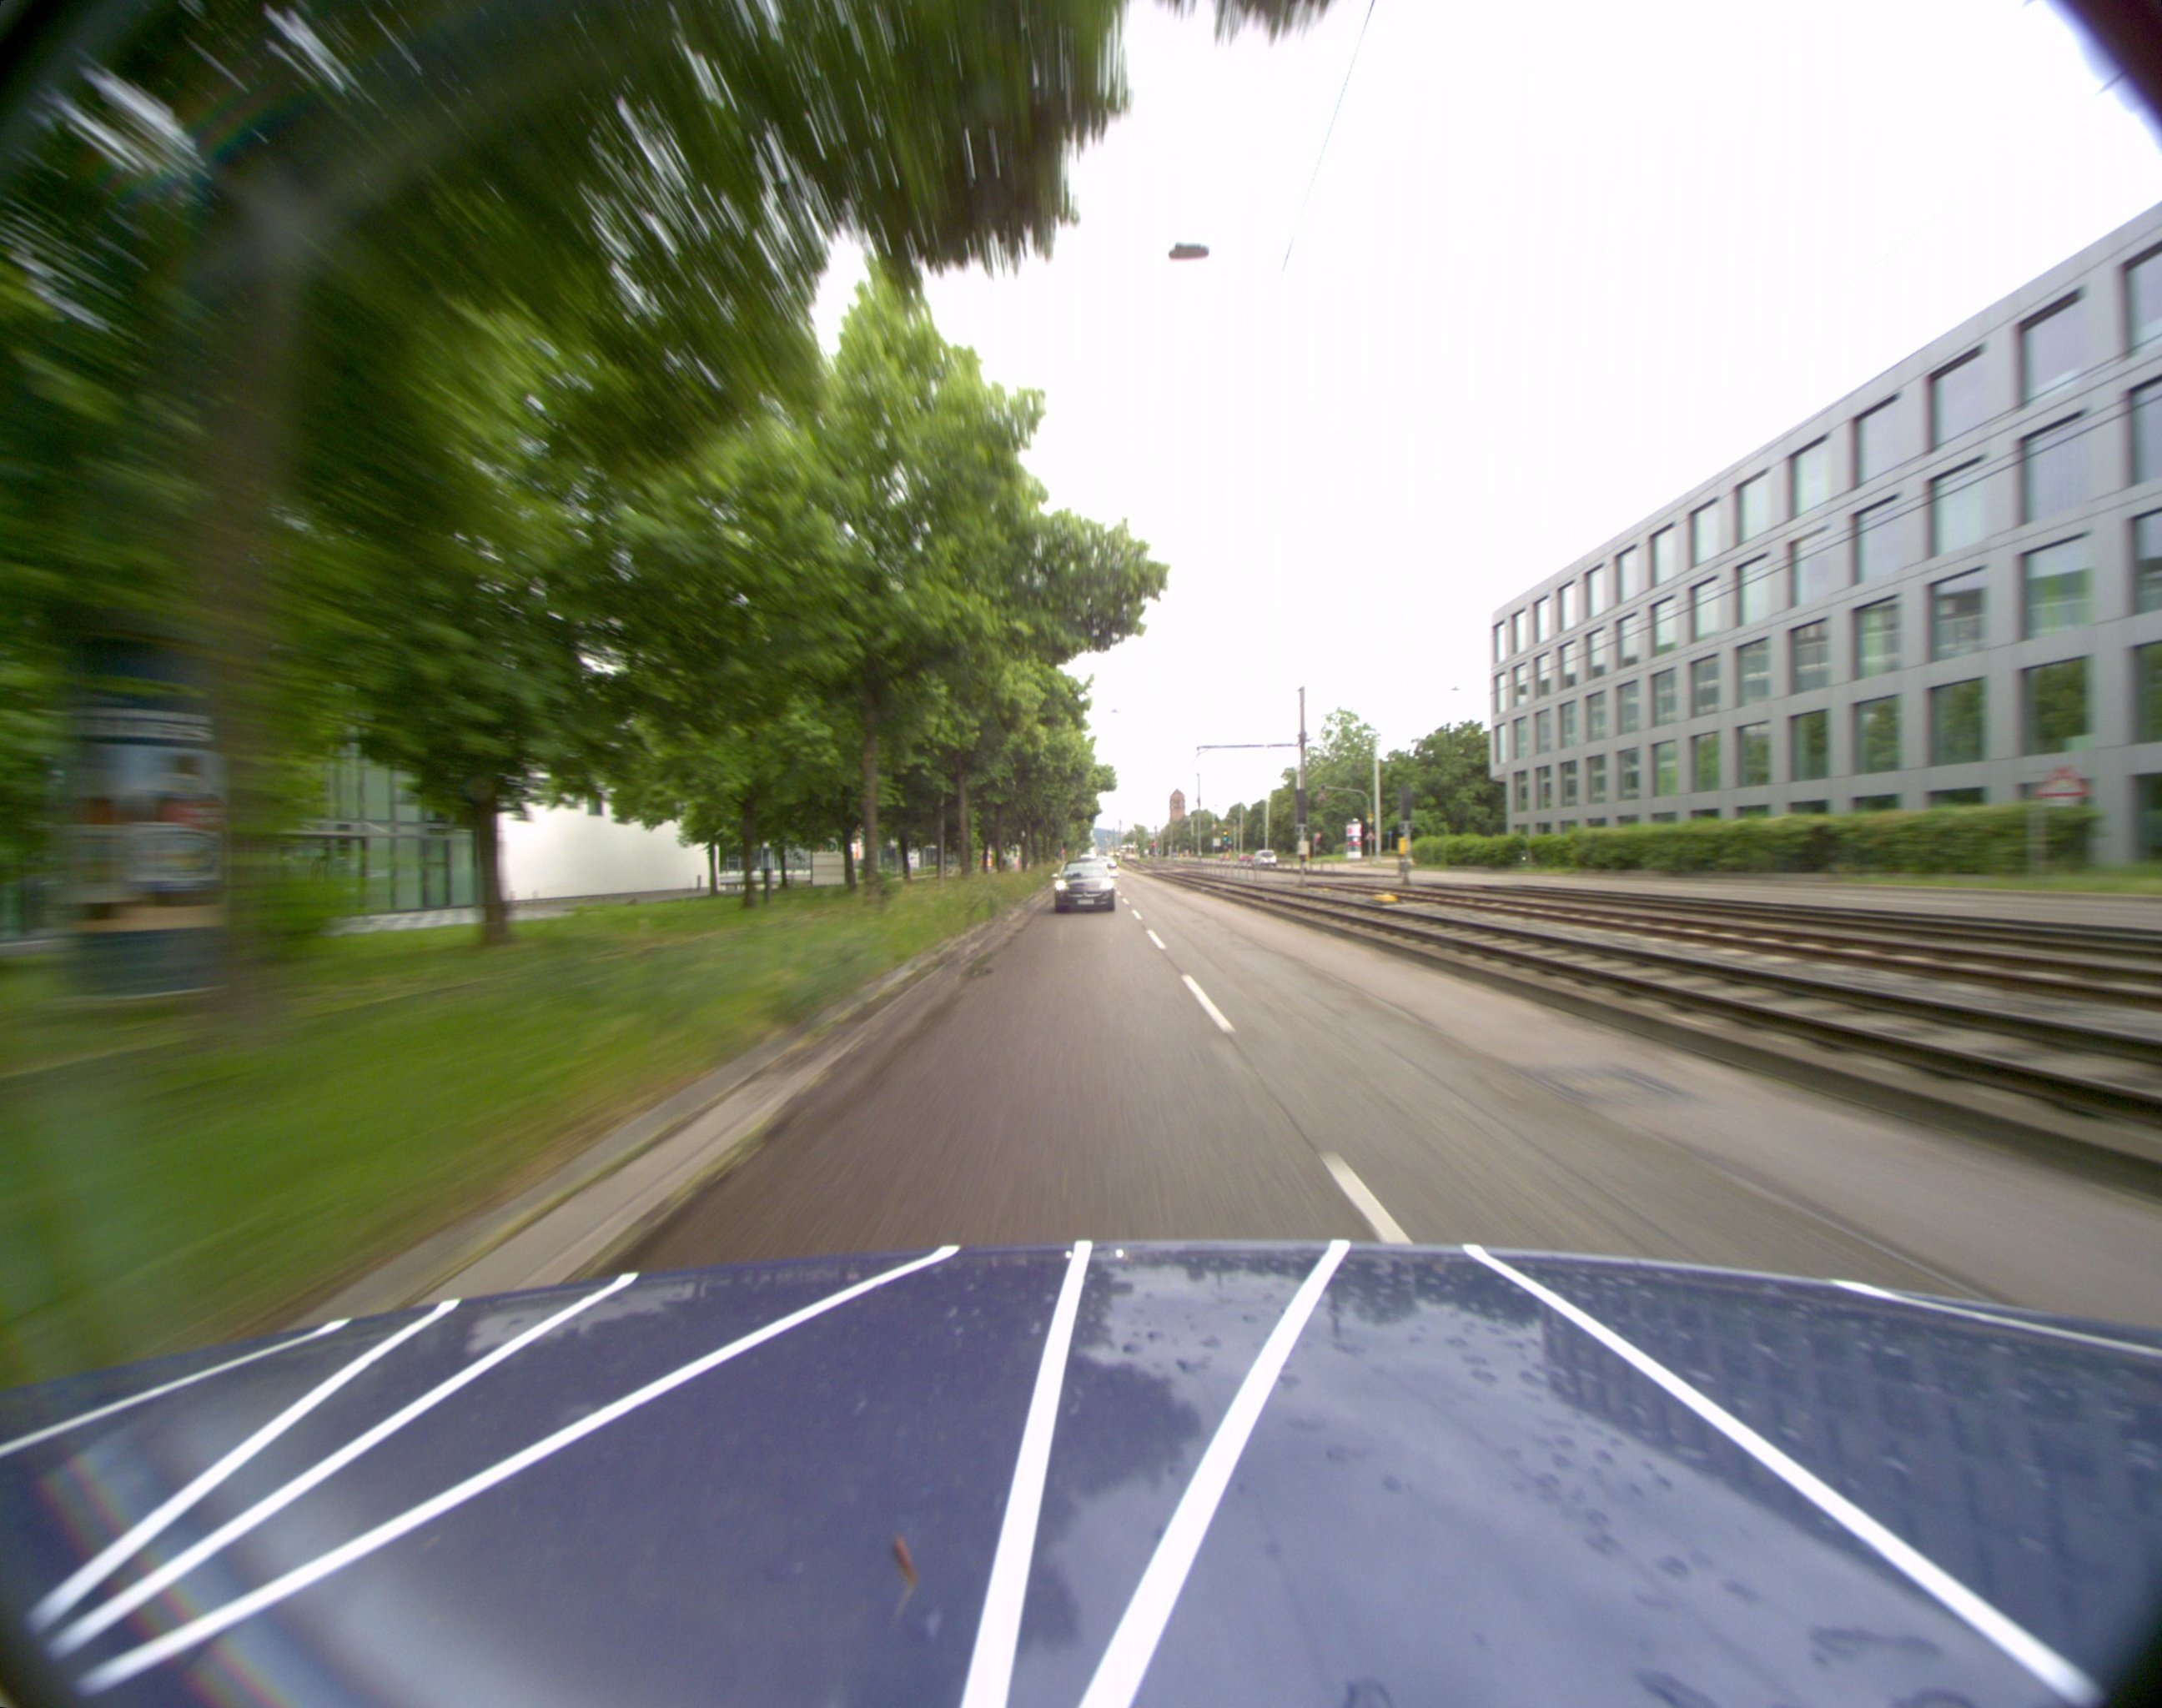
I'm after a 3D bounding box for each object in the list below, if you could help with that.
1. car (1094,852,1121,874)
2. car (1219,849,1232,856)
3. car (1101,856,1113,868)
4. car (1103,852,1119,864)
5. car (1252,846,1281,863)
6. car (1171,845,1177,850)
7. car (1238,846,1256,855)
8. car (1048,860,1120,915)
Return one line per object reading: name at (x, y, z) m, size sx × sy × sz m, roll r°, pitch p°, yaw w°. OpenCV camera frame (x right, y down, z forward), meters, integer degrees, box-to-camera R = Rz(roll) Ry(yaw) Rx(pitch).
car at (2.108, 0.713, 60.968) m, size 1.998 × 1.608 × 4.000 m, roll -2°, pitch 0°, yaw 1°
car at (26.428, -0.331, 139.139) m, size 1.760 × 1.237 × 3.988 m, roll -1°, pitch 0°, yaw 1°
car at (3.941, 1.216, 116.215) m, size 1.812 × 1.566 × 3.971 m, roll -2°, pitch 1°, yaw 1°
car at (3.895, 0.535, 98.908) m, size 1.899 × 1.432 × 4.246 m, roll -2°, pitch -1°, yaw 1°
car at (19.351, 0.029, 79.419) m, size 1.907 × 1.635 × 4.884 m, roll -1°, pitch 0°, yaw 2°
car at (28.730, -1.946, 234.256) m, size 1.765 × 1.389 × 3.901 m, roll -1°, pitch 0°, yaw 4°
car at (24.326, -0.535, 111.288) m, size 1.802 × 1.339 × 4.259 m, roll -1°, pitch 0°, yaw 1°
car at (0.121, 0.925, 22.894) m, size 1.899 × 1.432 × 4.474 m, roll -2°, pitch -1°, yaw 1°
